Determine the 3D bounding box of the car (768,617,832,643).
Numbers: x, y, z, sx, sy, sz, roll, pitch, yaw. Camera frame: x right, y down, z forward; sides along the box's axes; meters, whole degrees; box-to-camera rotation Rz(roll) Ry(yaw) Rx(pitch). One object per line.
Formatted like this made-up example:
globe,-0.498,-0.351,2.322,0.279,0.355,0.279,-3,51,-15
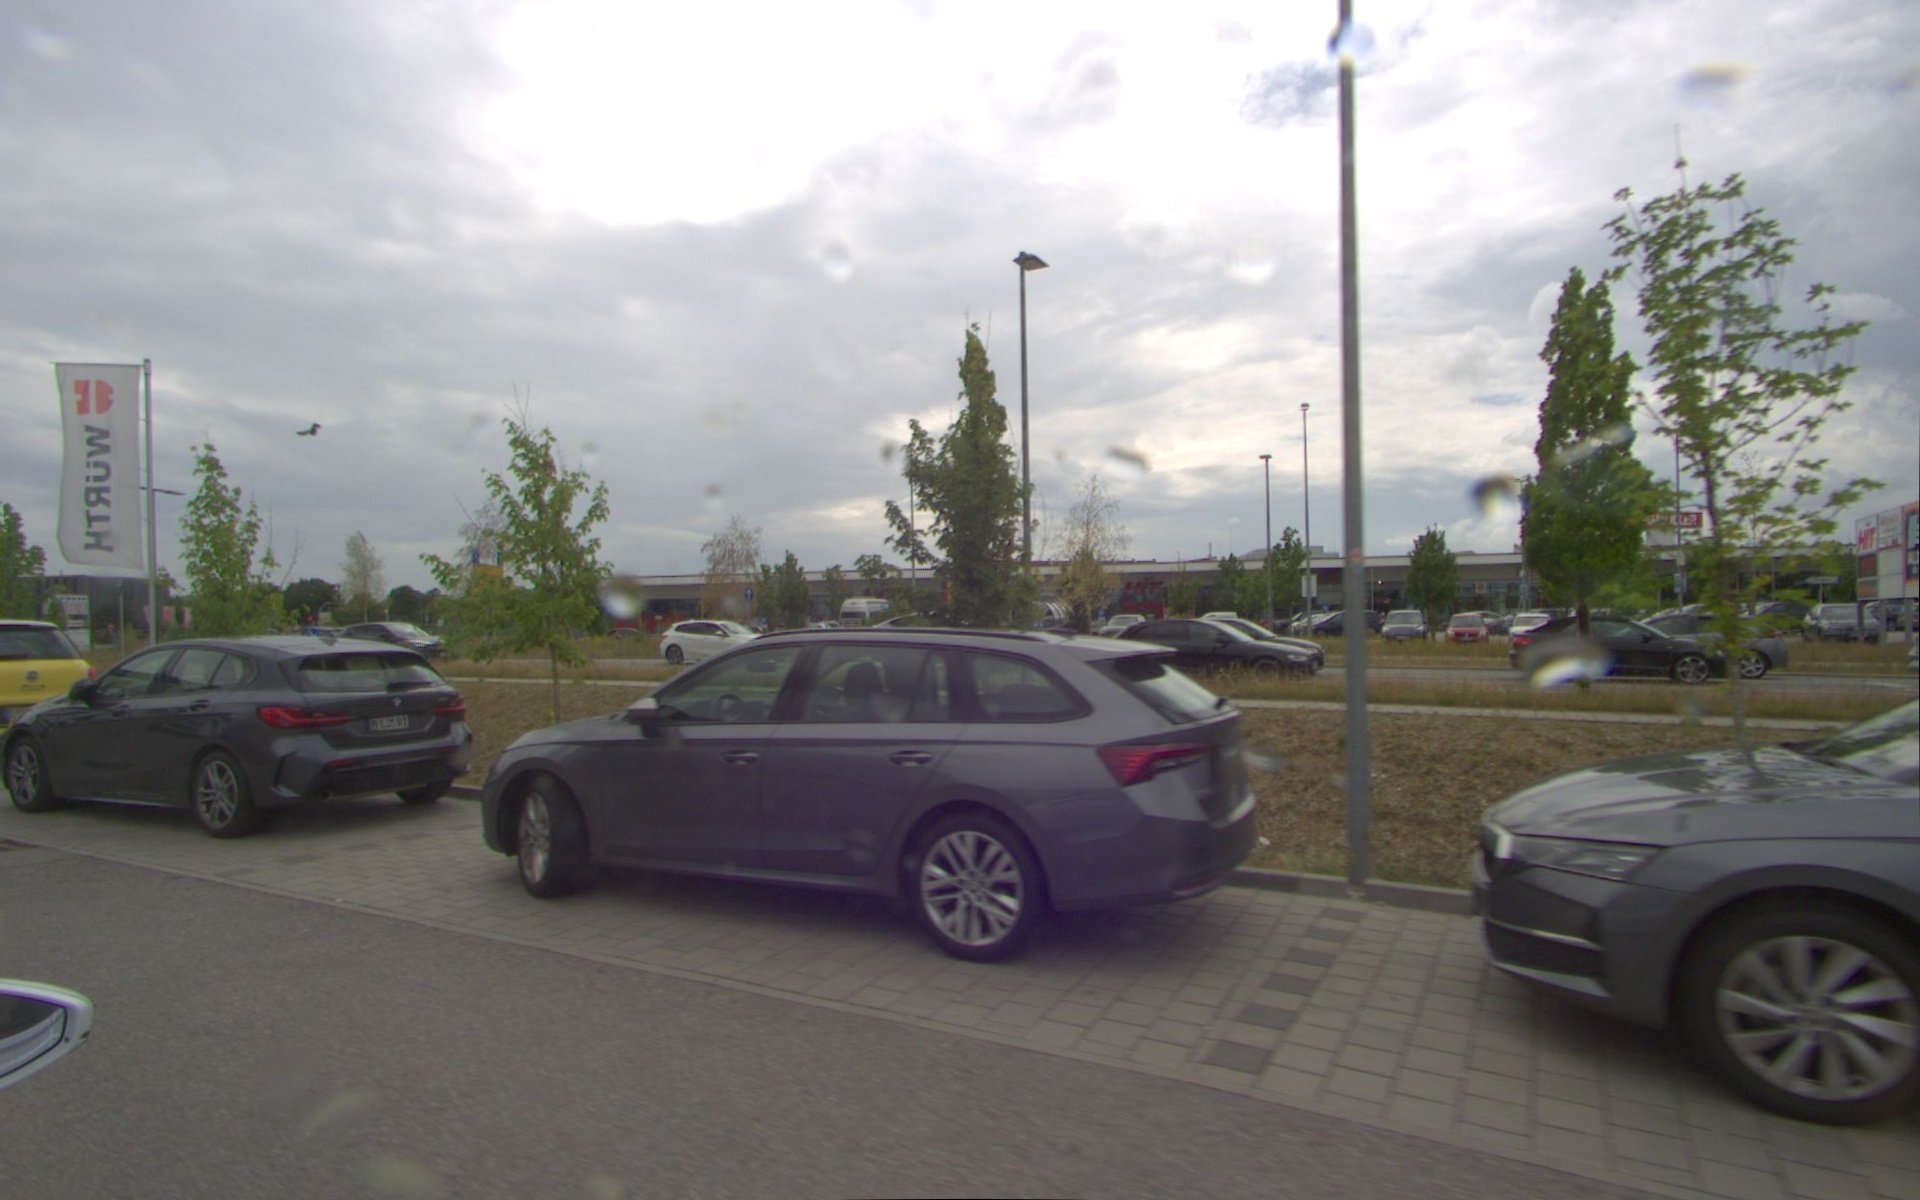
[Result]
car,-9.155,1.748,57.628,1.959,1.469,4.145,-1,-2,17

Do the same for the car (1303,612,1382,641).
car,22.166,1.521,58.172,3.923,1.661,1.877,0,-1,9

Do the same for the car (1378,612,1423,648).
car,19.469,1.316,44.294,1.748,1.495,3.989,-1,-1,24

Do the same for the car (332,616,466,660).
car,-18.340,1.230,32.738,3.932,1.371,1.756,-1,-1,22

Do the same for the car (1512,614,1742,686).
car,14.162,1.031,21.578,3.938,1.416,1.901,-1,-1,28

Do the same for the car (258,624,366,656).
car,-27.976,1.707,43.267,3.926,1.341,1.719,0,-1,14

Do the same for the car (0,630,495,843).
car,-6.170,0.985,8.433,4.234,1.434,1.749,-1,-2,24

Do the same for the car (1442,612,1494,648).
car,21.838,1.269,43.152,1.748,1.495,3.989,-1,-1,24

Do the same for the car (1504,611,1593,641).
car,33.255,1.484,56.659,3.923,1.661,1.877,0,-1,9

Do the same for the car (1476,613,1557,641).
car,34.344,1.671,61.895,3.923,1.661,1.877,0,-1,9

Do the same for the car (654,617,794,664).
car,-7.789,1.337,33.085,4.174,1.469,1.798,-1,-1,19

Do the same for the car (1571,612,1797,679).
car,17.231,1.079,24.123,4.202,1.474,1.991,-1,-2,31

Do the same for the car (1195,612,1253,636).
car,19.066,1.748,72.475,3.923,1.661,1.877,0,-1,9

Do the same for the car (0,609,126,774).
car,-11.839,0.983,11.286,4.221,1.705,1.751,-1,-2,18

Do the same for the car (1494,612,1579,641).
car,33.953,1.570,59.101,3.923,1.661,1.877,0,-1,9

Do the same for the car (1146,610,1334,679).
car,6.970,1.074,24.954,4.265,1.589,1.903,-1,-1,25

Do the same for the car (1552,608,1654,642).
car,32.680,1.280,51.004,3.923,1.661,1.877,0,-1,9

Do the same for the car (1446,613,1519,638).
car,35.117,1.691,67.338,3.923,1.661,1.877,0,-1,9

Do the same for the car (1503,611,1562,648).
car,23.831,1.215,41.801,1.748,1.495,3.989,-1,-1,24

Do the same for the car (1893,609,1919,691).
car,19.829,0.914,18.136,3.940,1.514,1.815,-1,-1,30

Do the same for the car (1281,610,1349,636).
car,23.561,1.519,66.540,3.923,1.661,1.877,0,-1,9

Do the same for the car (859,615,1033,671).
car,-0.426,1.216,29.251,4.802,1.528,1.806,0,-1,23

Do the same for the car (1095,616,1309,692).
car,5.333,1.147,22.106,4.299,1.535,1.994,-1,-1,26

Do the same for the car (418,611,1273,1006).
car,-0.729,0.867,5.631,4.558,1.510,1.748,-1,-2,26

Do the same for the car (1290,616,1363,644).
car,22.322,1.835,61.116,3.923,1.661,1.877,0,-1,9

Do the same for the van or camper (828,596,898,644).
van or camper,-5.305,1.109,55.295,2.252,2.524,3.990,0,-1,23

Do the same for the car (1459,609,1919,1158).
car,3.996,0.787,3.049,4.417,1.510,1.747,-1,-2,27
